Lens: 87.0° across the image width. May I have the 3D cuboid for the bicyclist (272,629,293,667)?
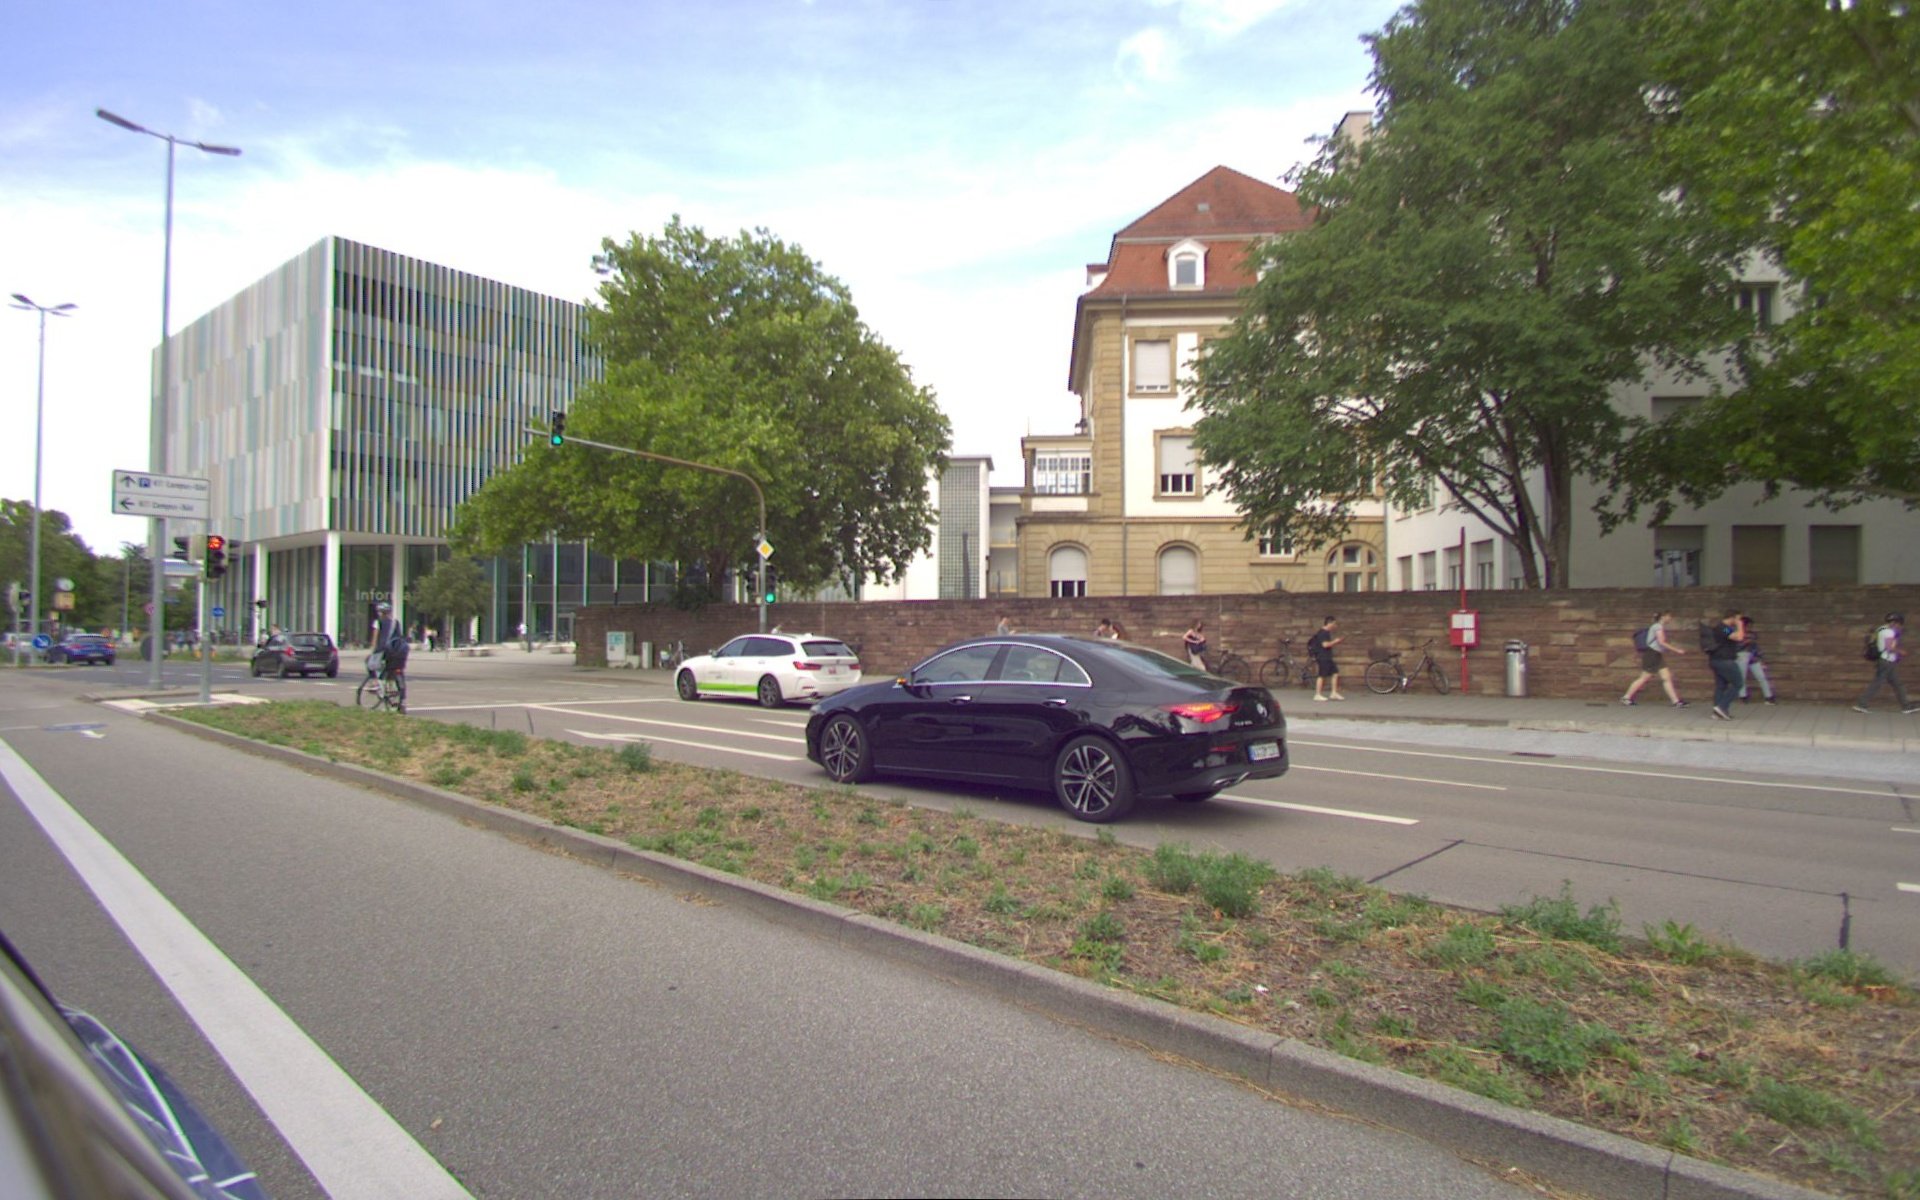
[{"bbox_3d":[-32.355,2.287,48.351,0.558,1.820,0.596,-1,-2,24],"label":"bicyclist"}]

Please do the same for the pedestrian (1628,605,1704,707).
[{"bbox_3d":[12.851,0.998,18.436,0.906,1.796,0.758,1,-1,14],"label":"pedestrian"}]

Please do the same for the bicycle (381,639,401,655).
[{"bbox_3d":[-38.668,3.181,68.803,0.389,1.037,1.545,-1,0,2],"label":"bicycle"}]

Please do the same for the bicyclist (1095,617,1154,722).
[{"bbox_3d":[2.904,1.211,17.902,0.611,1.796,0.812,2,-3,-43],"label":"bicyclist"}]

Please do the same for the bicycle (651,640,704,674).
[{"bbox_3d":[-9.867,1.978,35.292,2.162,1.134,0.572,-2,0,38],"label":"bicycle"}]

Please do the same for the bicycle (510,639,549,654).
[{"bbox_3d":[-29.095,3.112,68.440,0.669,1.007,2.661,-1,-2,24],"label":"bicycle"}]

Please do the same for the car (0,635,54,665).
[{"bbox_3d":[-48.860,2.588,52.812,4.285,1.500,1.783,-2,-3,40],"label":"car"}]

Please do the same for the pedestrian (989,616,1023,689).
[{"bbox_3d":[1.181,1.325,25.831,0.775,1.796,0.744,1,-1,10],"label":"pedestrian"}]

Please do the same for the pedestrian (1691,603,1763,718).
[{"bbox_3d":[12.375,0.962,16.359,0.716,1.796,0.756,1,-1,19],"label":"pedestrian"}]

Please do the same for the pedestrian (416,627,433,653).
[{"bbox_3d":[-34.183,2.559,64.593,0.671,1.612,0.728,0,-2,9],"label":"pedestrian"}]

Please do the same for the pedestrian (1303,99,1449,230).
[{"bbox_3d":[7.328,-7.682,17.901,1.902,1.079,0.975,-30,-6,-6],"label":"pedestrian"}]

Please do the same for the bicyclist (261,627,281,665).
[{"bbox_3d":[-33.481,2.228,49.194,0.559,1.820,0.596,-1,-1,26],"label":"bicyclist"}]

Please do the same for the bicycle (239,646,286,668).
[{"bbox_3d":[-34.770,2.822,50.448,0.724,0.996,1.807,-1,-1,25],"label":"bicycle"}]

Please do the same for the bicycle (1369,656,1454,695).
[{"bbox_3d":[9.841,1.637,22.087,1.616,0.803,0.437,-3,-1,33],"label":"bicycle"}]

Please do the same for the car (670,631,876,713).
[{"bbox_3d":[-3.884,1.383,20.613,4.414,1.500,1.783,-2,-3,41],"label":"car"}]

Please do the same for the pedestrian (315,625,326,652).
[{"bbox_3d":[-49.267,2.981,77.958,0.623,2.059,0.506,-2,-3,38],"label":"pedestrian"}]

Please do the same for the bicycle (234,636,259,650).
[{"bbox_3d":[-56.302,3.370,79.896,0.388,1.031,1.564,-2,0,34],"label":"bicycle"}]

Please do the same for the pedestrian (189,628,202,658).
[{"bbox_3d":[-47.559,2.647,62.933,0.624,1.851,0.506,-3,-3,39],"label":"pedestrian"}]

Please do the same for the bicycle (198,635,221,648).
[{"bbox_3d":[-63.573,3.486,85.726,0.388,1.031,1.564,-2,0,34],"label":"bicycle"}]

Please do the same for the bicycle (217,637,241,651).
[{"bbox_3d":[-59.874,3.609,82.885,0.388,1.031,1.564,-2,0,34],"label":"bicycle"}]

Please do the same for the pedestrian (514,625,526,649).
[{"bbox_3d":[-32.599,2.745,75.010,0.627,1.792,0.597,0,-2,-5],"label":"pedestrian"}]

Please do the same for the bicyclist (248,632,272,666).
[{"bbox_3d":[-34.829,2.428,50.341,0.720,1.685,0.722,-1,-1,26],"label":"bicyclist"}]

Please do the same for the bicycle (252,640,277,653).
[{"bbox_3d":[-52.678,3.505,76.650,0.388,0.944,1.528,-2,0,34],"label":"bicycle"}]

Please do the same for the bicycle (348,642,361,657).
[{"bbox_3d":[-41.322,3.349,69.057,0.387,0.944,1.603,-1,0,-17],"label":"bicycle"}]

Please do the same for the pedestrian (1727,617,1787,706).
[{"bbox_3d":[14.740,1.123,18.731,0.730,1.604,0.584,1,-1,20],"label":"pedestrian"}]

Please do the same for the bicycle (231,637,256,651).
[{"bbox_3d":[-57.779,3.570,81.609,0.388,1.031,1.564,-2,0,34],"label":"bicycle"}]

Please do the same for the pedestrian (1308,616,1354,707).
[{"bbox_3d":[7.521,1.224,20.565,0.776,1.796,0.758,1,-1,14],"label":"pedestrian"}]

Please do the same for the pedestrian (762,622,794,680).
[{"bbox_3d":[-5.746,1.588,31.971,0.775,1.796,0.745,1,-1,8],"label":"pedestrian"}]

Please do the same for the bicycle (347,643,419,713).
[{"bbox_3d":[-9.354,1.235,16.377,0.566,1.063,1.928,2,-3,-43],"label":"bicycle"}]

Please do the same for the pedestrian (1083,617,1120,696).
[{"bbox_3d":[3.296,1.301,23.575,0.776,1.796,0.758,1,-1,13],"label":"pedestrian"}]

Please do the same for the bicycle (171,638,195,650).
[{"bbox_3d":[-69.915,3.962,91.087,0.433,1.031,1.684,-2,0,34],"label":"bicycle"}]

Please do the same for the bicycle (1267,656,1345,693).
[{"bbox_3d":[7.968,1.723,23.347,1.616,0.803,0.437,-3,-1,33],"label":"bicycle"}]

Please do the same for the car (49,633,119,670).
[{"bbox_3d":[-40.011,2.334,46.206,4.101,1.523,1.783,0,-1,40],"label":"car"}]

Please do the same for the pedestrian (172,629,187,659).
[{"bbox_3d":[-48.059,2.713,62.319,0.772,1.851,0.506,-3,-3,39],"label":"pedestrian"}]

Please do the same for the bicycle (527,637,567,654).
[{"bbox_3d":[-27.471,3.018,67.358,0.792,1.098,2.661,-1,-2,24],"label":"bicycle"}]

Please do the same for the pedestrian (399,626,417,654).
[{"bbox_3d":[-35.172,2.549,64.495,0.670,1.753,0.729,0,-2,6],"label":"pedestrian"}]

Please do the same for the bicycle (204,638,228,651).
[{"bbox_3d":[-62.113,3.712,84.490,0.388,1.031,1.564,-2,0,34],"label":"bicycle"}]

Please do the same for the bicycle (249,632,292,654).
[{"bbox_3d":[-33.490,2.063,49.208,0.568,0.996,1.677,-1,-1,25],"label":"bicycle"}]

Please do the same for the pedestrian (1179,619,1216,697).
[{"bbox_3d":[5.572,1.348,23.771,0.775,1.796,0.759,1,-1,11],"label":"pedestrian"}]

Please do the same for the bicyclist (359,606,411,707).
[{"bbox_3d":[-9.311,0.908,16.379,0.565,1.586,0.700,2,-3,-43],"label":"bicyclist"}]

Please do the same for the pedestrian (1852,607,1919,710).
[{"bbox_3d":[15.757,0.970,16.988,0.915,1.684,0.758,1,-1,14],"label":"pedestrian"}]

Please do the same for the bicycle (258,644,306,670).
[{"bbox_3d":[-32.364,2.720,48.322,0.603,1.179,1.880,-1,-2,24],"label":"bicycle"}]

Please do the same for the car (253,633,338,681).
[{"bbox_3d":[-22.001,1.865,33.477,3.637,1.500,1.554,-2,-4,44],"label":"car"}]

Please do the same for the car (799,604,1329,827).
[{"bbox_3d":[0.728,0.849,8.920,4.401,1.500,1.784,-2,-3,39],"label":"car"}]
